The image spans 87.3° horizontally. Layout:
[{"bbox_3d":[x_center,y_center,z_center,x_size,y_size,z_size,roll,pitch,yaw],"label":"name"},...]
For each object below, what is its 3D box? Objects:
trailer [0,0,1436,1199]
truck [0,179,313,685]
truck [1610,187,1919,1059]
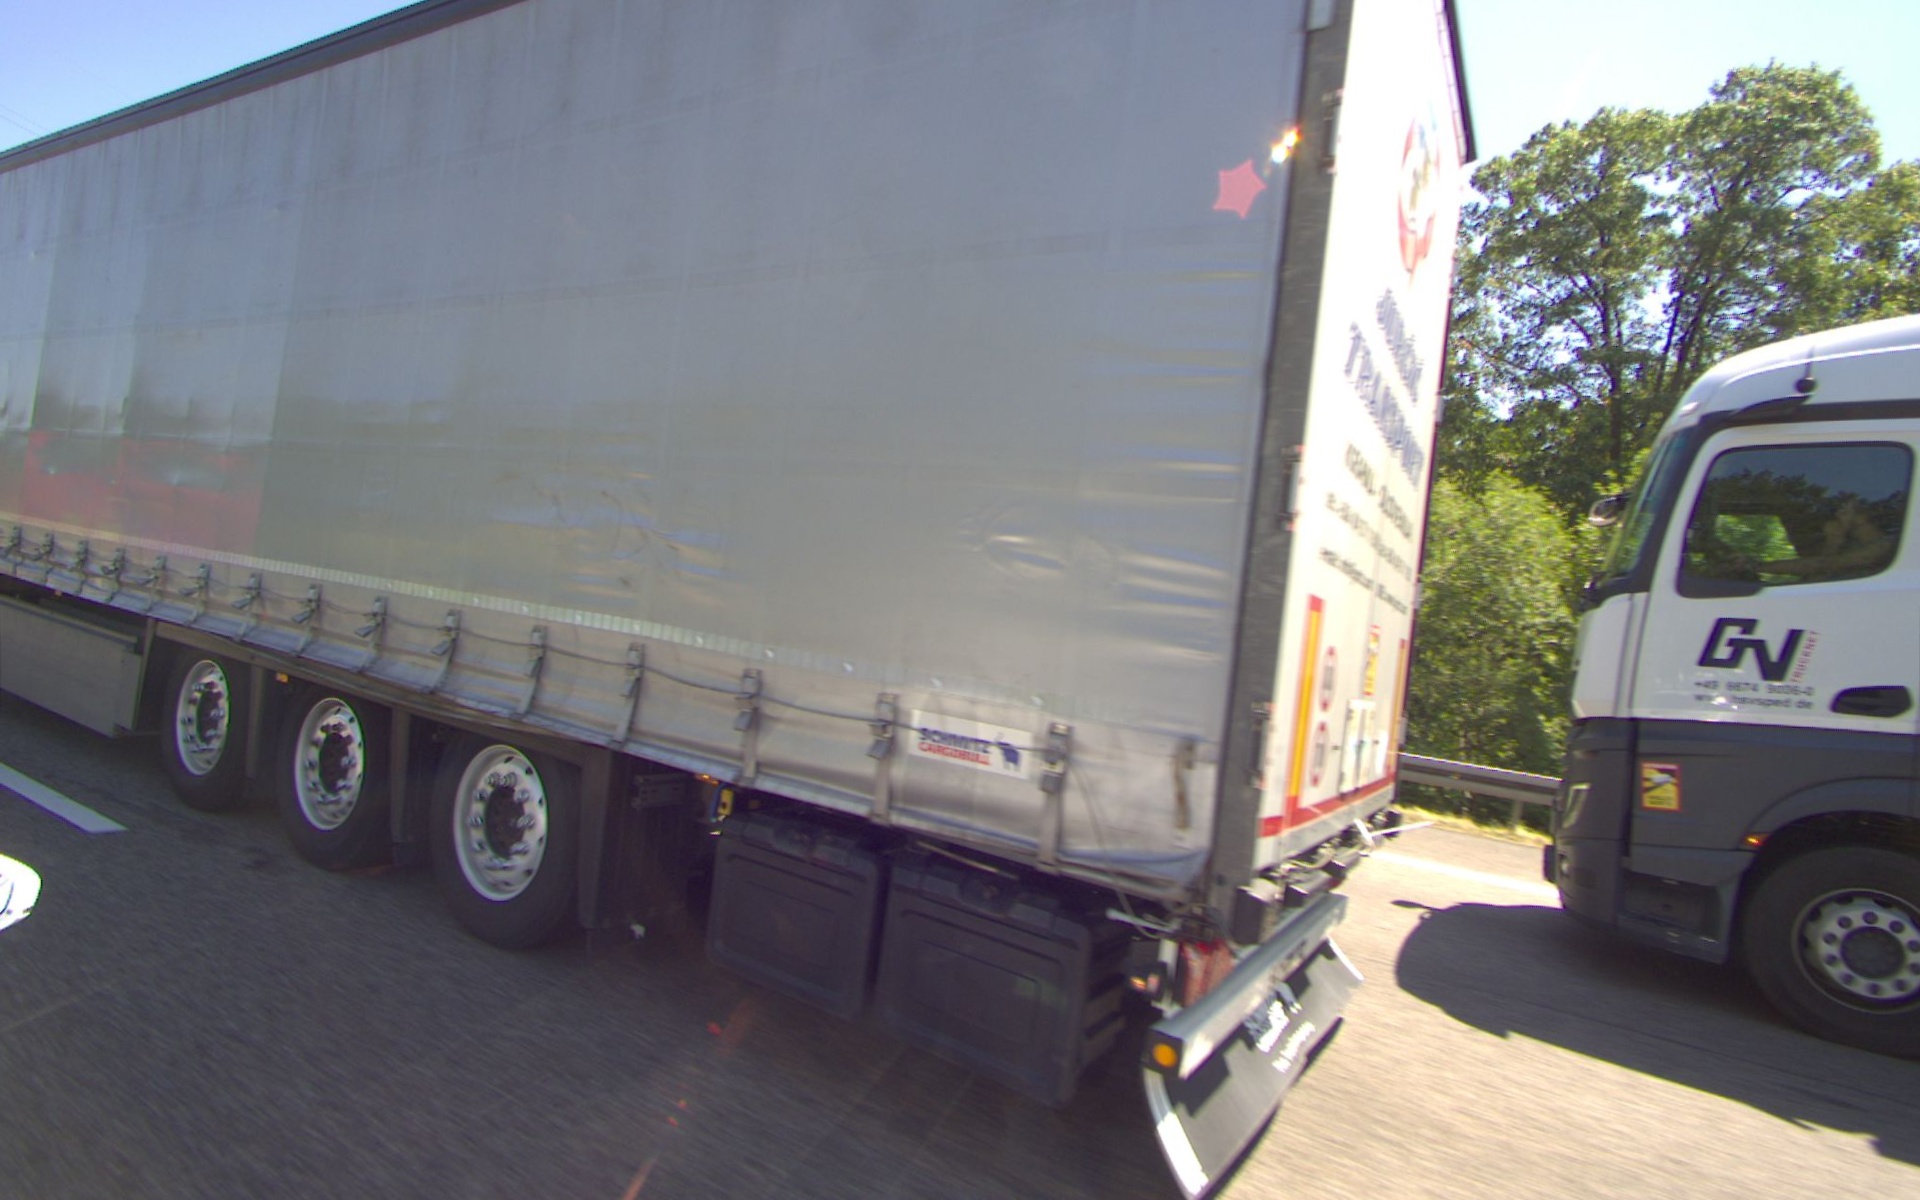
[{"bbox_3d":[-4.387,-0.932,7.044,13.426,4.021,2.745,6,-1,31],"label":"trailer"},{"bbox_3d":[-10.152,-1.585,10.582,6.393,4.021,2.728,7,-1,31],"label":"truck"},{"bbox_3d":[8.866,0.595,3.638,10.493,4.178,2.531,6,-1,32],"label":"truck"}]
